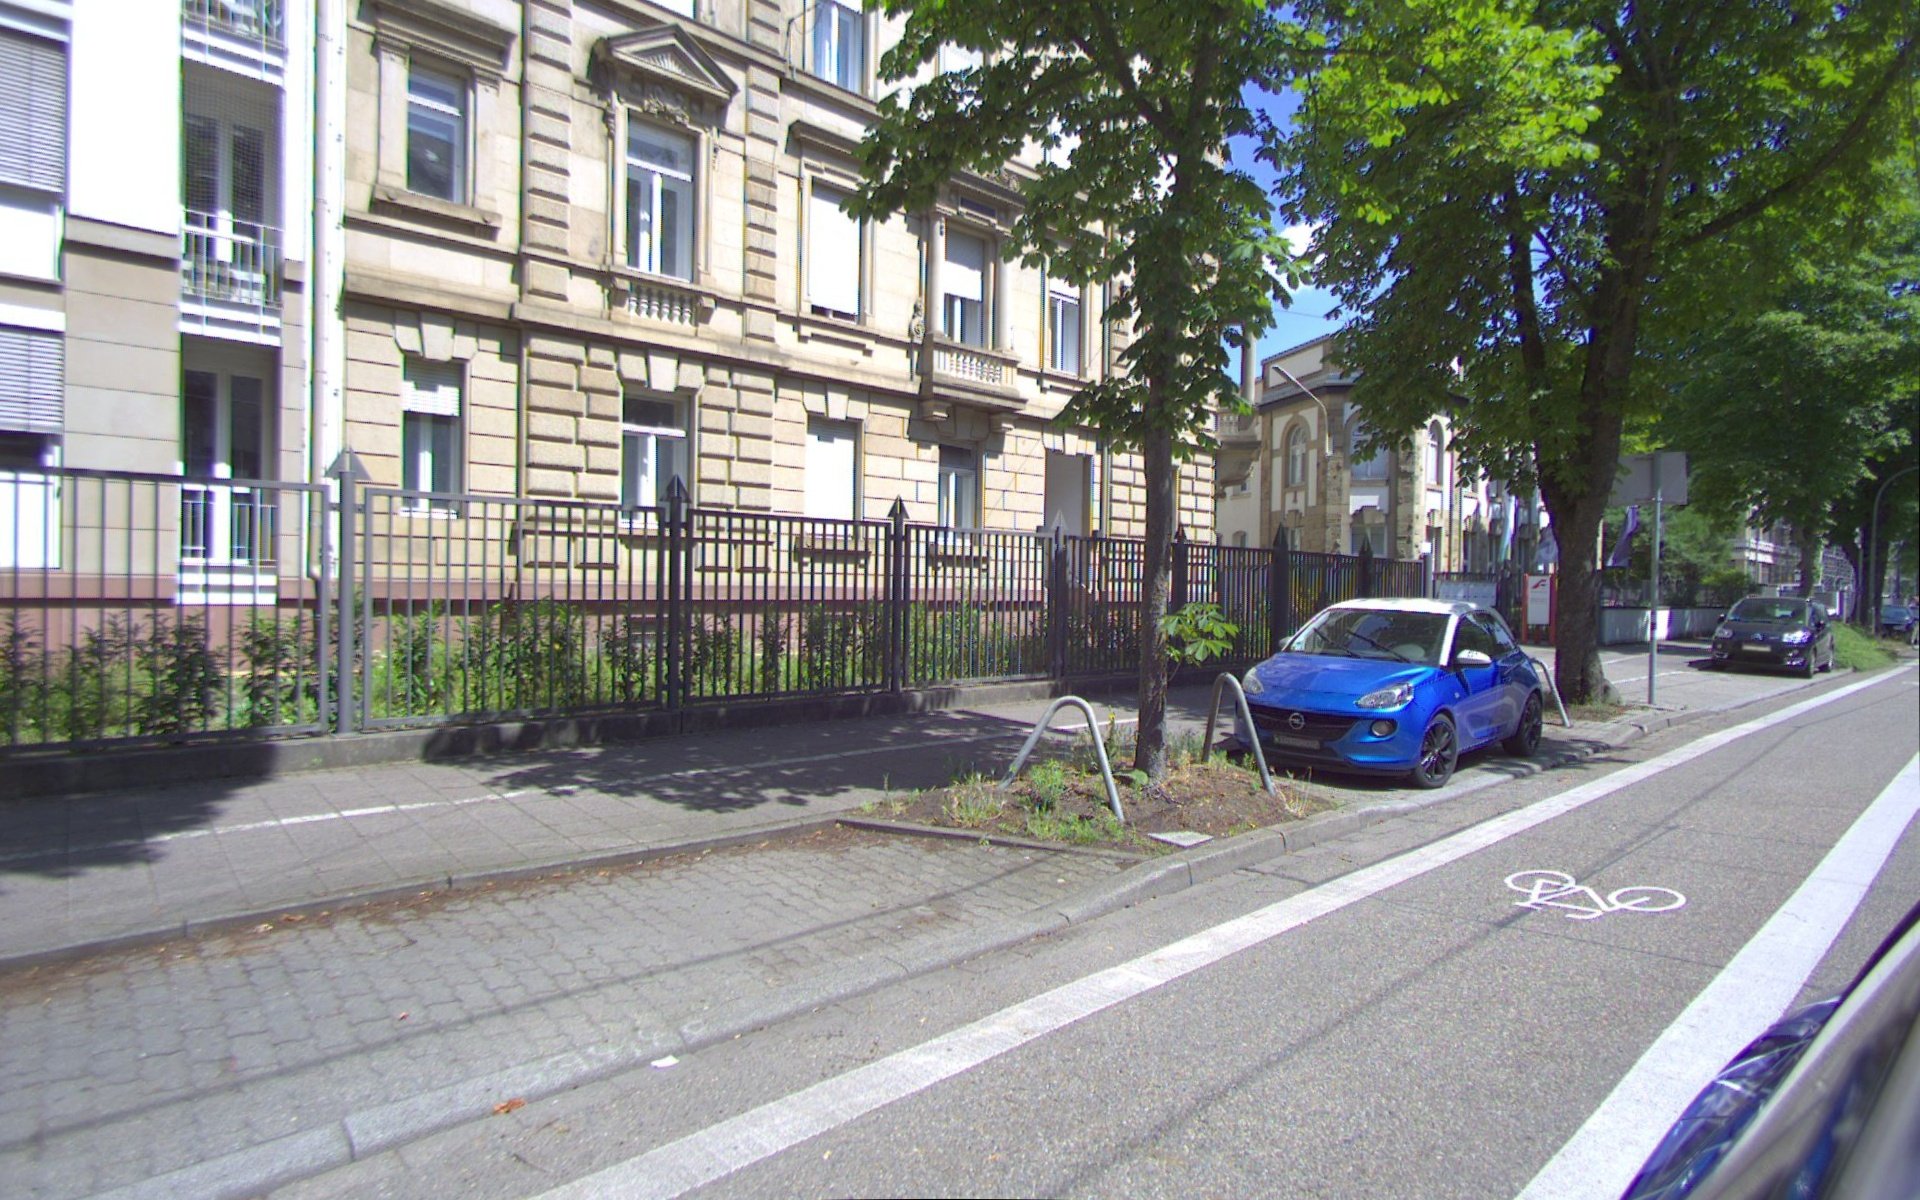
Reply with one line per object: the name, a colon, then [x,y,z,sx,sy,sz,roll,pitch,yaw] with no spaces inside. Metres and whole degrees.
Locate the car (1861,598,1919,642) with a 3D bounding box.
car: [33.657,0.678,36.241,3.757,1.420,1.625,0,3,-42]

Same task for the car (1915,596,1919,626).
car: [47.514,0.560,48.904,3.931,1.420,1.625,0,3,-42]

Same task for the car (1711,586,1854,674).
car: [17.814,0.588,21.858,4.014,1.636,1.733,0,3,-42]

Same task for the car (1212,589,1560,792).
car: [4.013,0.667,9.308,3.415,1.471,1.693,0,1,-43]

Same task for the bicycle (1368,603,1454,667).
bicycle: [8.107,0.603,18.160,1.945,1.084,0.609,0,1,-40]

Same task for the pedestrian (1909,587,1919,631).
pedestrian: [40.981,0.388,42.991,0.724,1.873,0.648,1,1,-15]

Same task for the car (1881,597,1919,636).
car: [38.499,0.651,40.768,3.931,1.420,1.625,0,3,-42]
